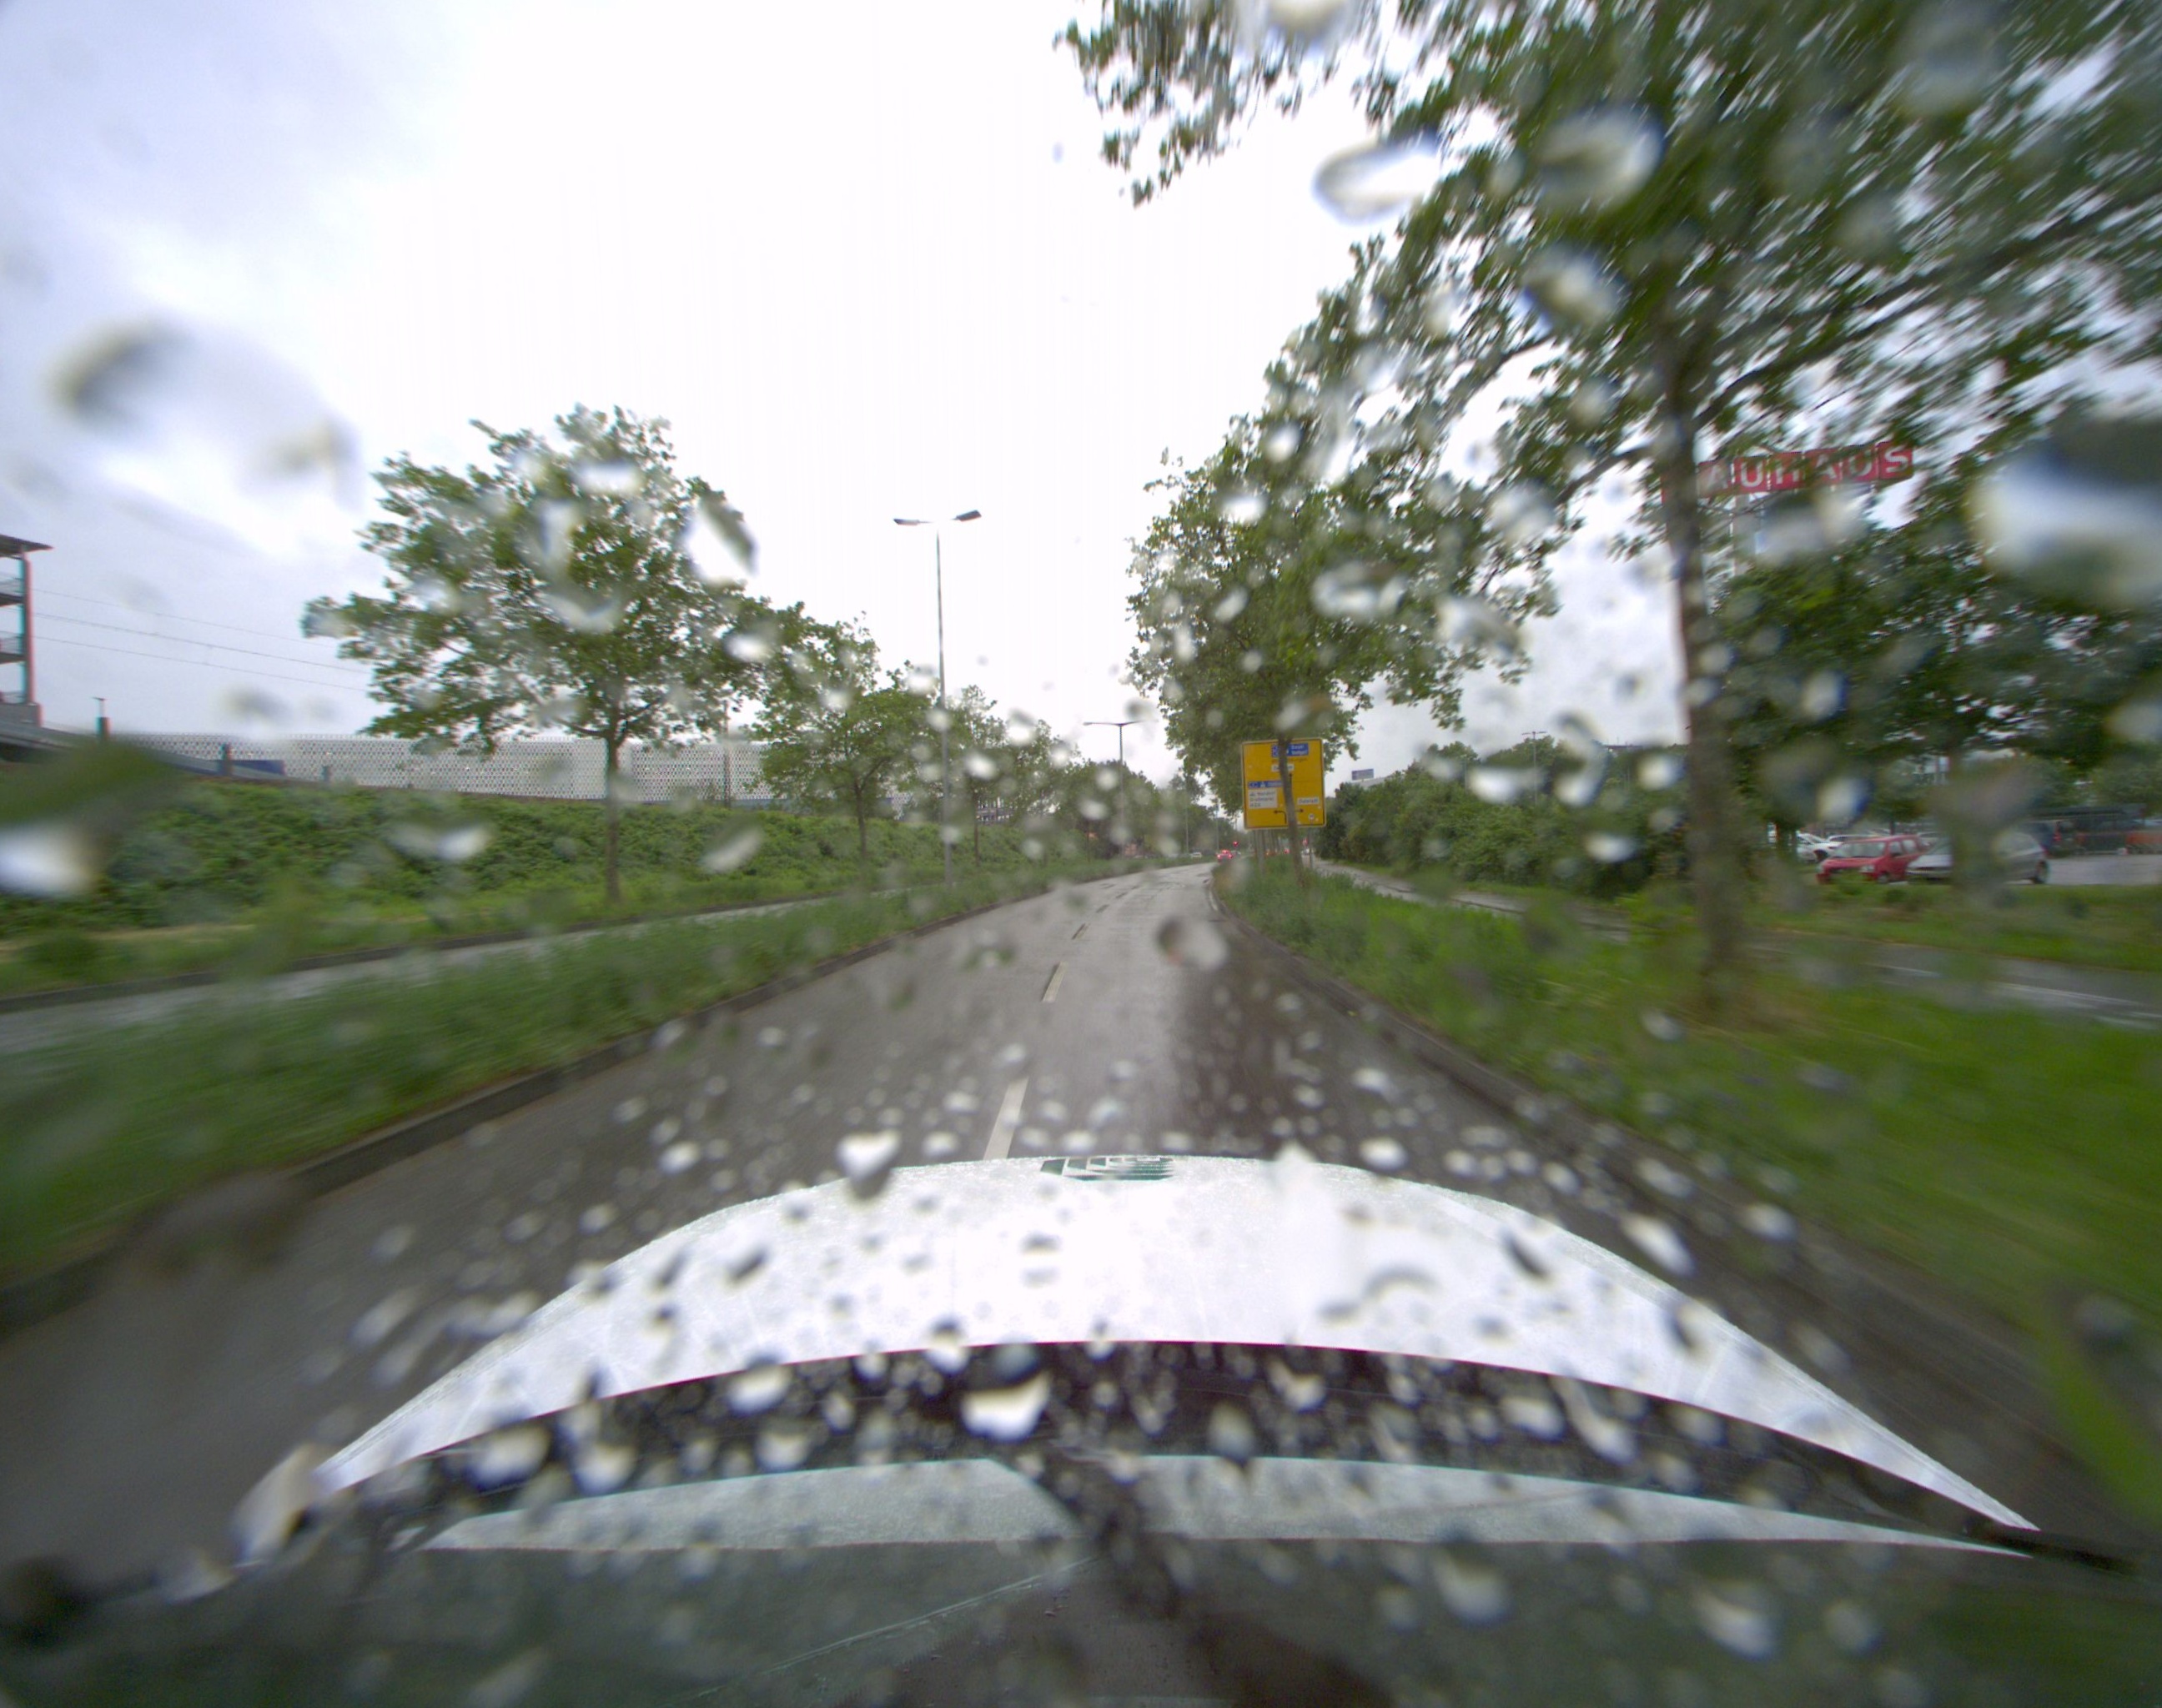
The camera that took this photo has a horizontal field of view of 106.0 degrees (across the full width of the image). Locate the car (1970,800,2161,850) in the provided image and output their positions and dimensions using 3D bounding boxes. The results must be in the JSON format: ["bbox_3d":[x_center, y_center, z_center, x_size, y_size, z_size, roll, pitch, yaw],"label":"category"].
[{"bbox_3d":[52.383,-1.435,42.621,2.586,2.356,7.528,-1,0,-18],"label":"car"}]

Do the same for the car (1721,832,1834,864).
[{"bbox_3d":[38.057,-0.307,44.638,1.943,1.634,4.302,-1,0,-25],"label":"car"}]

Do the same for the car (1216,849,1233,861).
[{"bbox_3d":[17.868,0.161,101.333,1.677,1.433,4.593,-1,0,15],"label":"car"}]

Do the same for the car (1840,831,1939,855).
[{"bbox_3d":[50.377,-0.656,50.852,1.805,1.454,4.005,-1,0,-19],"label":"car"}]

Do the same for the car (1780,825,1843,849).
[{"bbox_3d":[66.161,-1.512,73.835,1.899,2.013,3.763,-1,0,-19],"label":"car"}]

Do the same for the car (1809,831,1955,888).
[{"bbox_3d":[25.975,0.154,26.403,4.297,1.674,1.742,-2,0,-21],"label":"car"}]

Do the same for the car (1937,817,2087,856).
[{"bbox_3d":[47.944,-0.864,42.101,1.996,1.898,4.731,-1,0,-13],"label":"car"}]

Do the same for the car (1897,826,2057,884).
[{"bbox_3d":[26.406,0.016,24.005,4.297,1.519,1.742,-2,0,-21],"label":"car"}]
